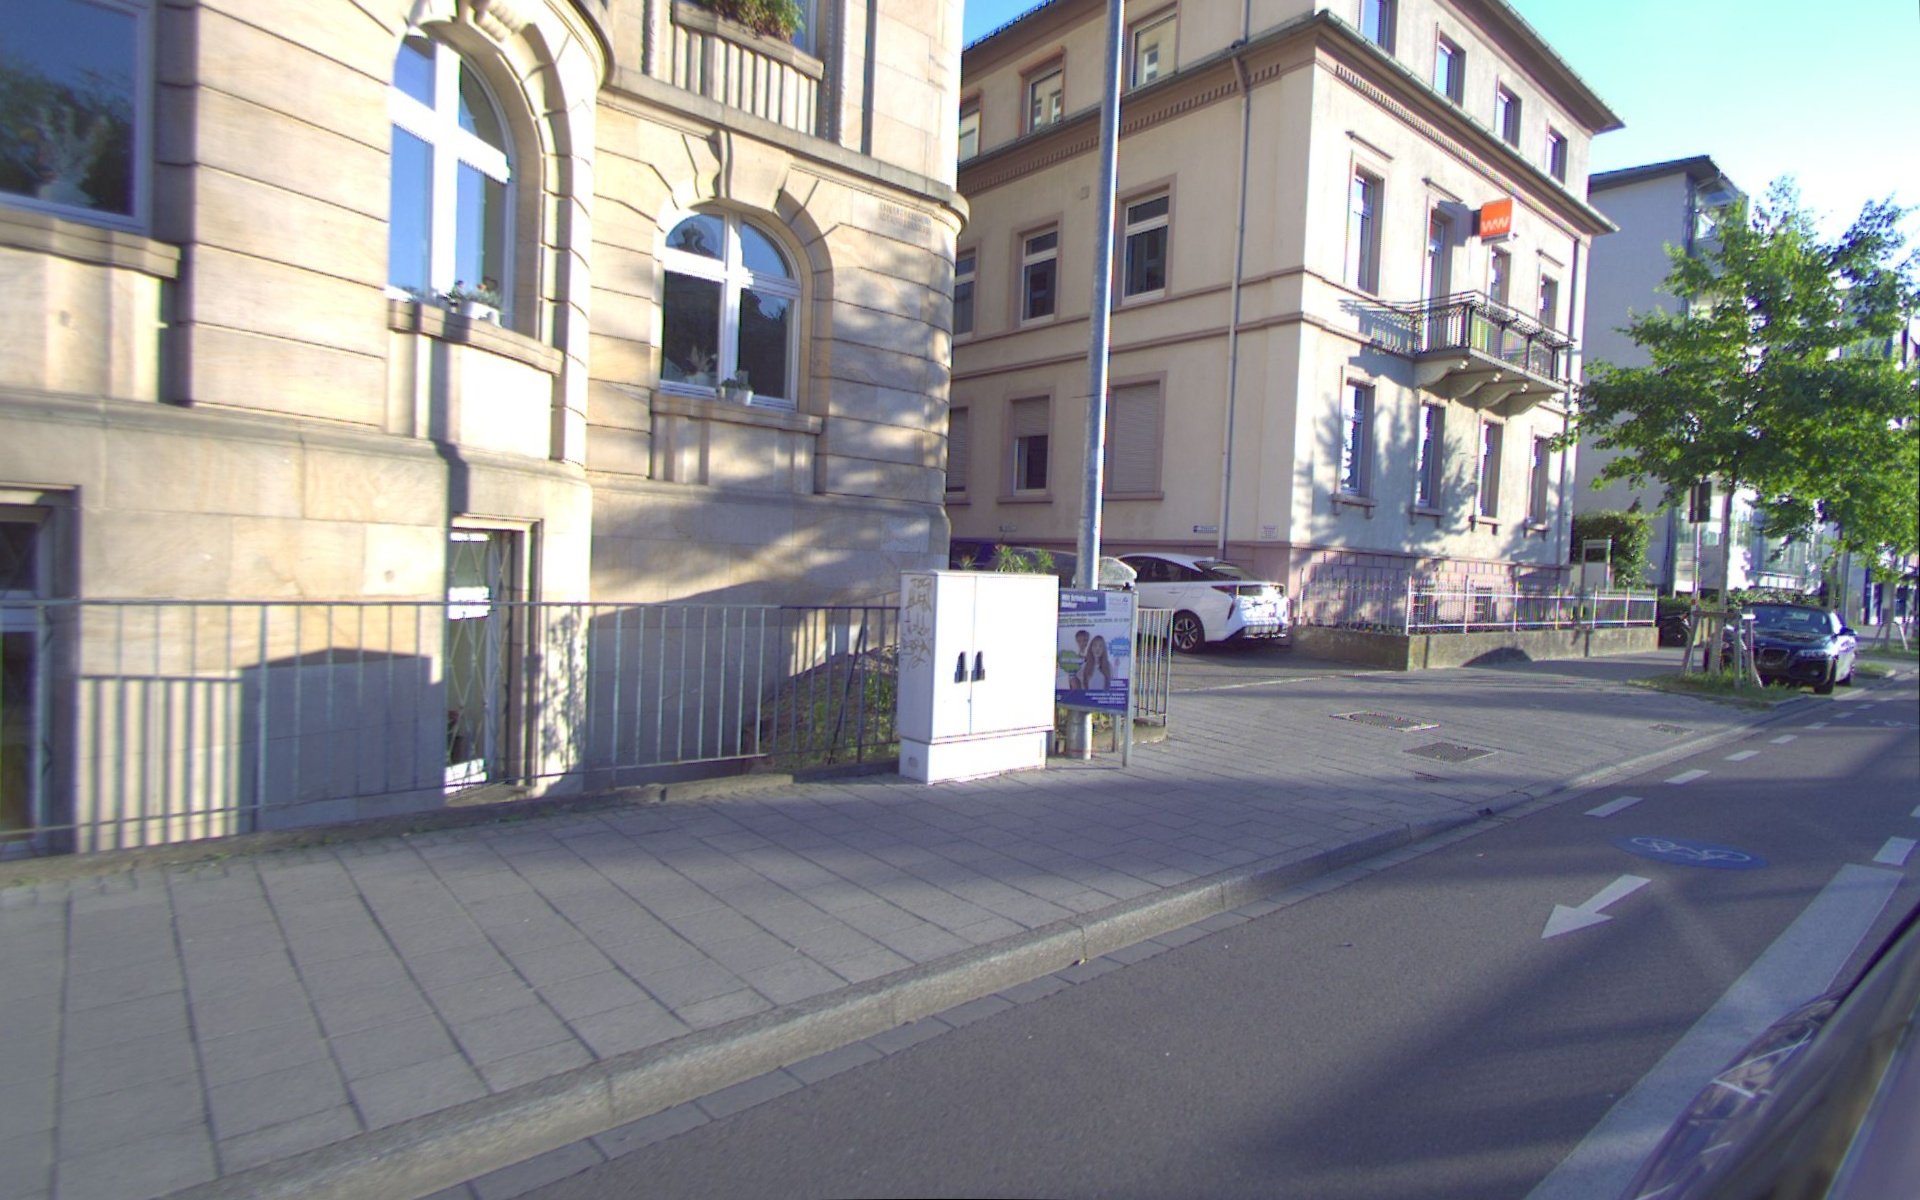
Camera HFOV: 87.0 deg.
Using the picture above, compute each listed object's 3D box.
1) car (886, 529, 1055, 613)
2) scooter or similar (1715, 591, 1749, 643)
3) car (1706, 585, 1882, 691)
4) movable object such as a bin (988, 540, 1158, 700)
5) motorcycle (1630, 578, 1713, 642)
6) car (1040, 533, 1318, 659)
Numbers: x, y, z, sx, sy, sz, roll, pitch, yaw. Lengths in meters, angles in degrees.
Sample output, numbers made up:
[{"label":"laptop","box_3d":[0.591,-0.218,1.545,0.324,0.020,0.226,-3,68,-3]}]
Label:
[{"label":"car","box_3d":[0.135,-0.637,20.688,1.470,1.501,3.559,1,4,-39]},{"label":"scooter or similar","box_3d":[19.334,0.412,25.331,1.189,1.274,0.491,0,1,-45]},{"label":"car","box_3d":[14.777,0.589,17.838,4.371,1.488,1.796,0,5,-44]},{"label":"movable object such as a bin","box_3d":[1.129,0.159,10.213,1.105,1.480,1.261,1,2,-44]},{"label":"motorcycle","box_3d":[17.657,0.237,25.139,0.616,1.430,1.498,2,3,-44]},{"label":"car","box_3d":[3.487,-0.156,16.847,1.881,1.589,4.210,1,6,-38]}]
